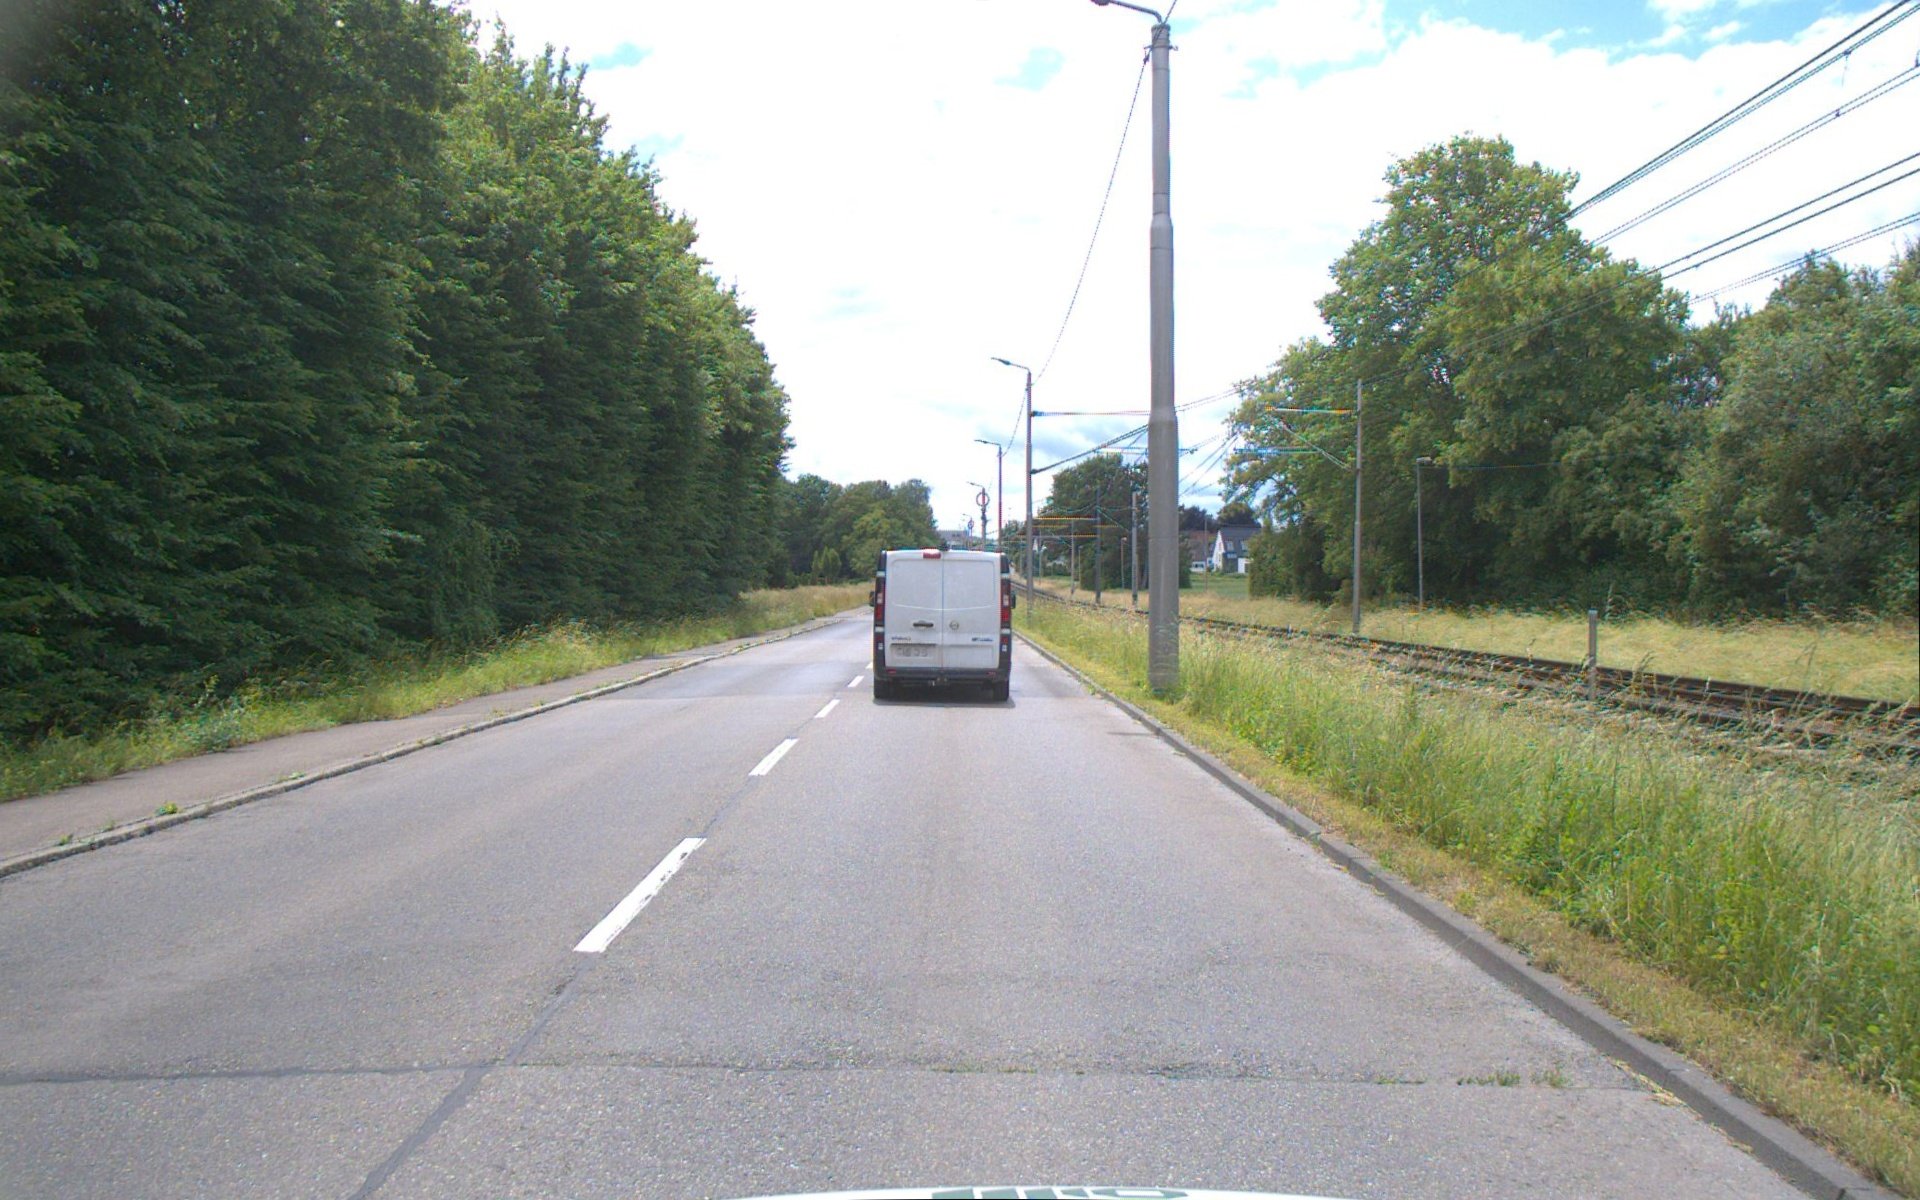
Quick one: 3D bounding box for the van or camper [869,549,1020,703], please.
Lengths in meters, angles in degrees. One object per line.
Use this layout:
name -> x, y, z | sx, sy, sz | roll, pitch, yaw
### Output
van or camper -> -0.156, 0.345, 23.178 | 1.902, 1.930, 4.285 | -1, -1, 1
